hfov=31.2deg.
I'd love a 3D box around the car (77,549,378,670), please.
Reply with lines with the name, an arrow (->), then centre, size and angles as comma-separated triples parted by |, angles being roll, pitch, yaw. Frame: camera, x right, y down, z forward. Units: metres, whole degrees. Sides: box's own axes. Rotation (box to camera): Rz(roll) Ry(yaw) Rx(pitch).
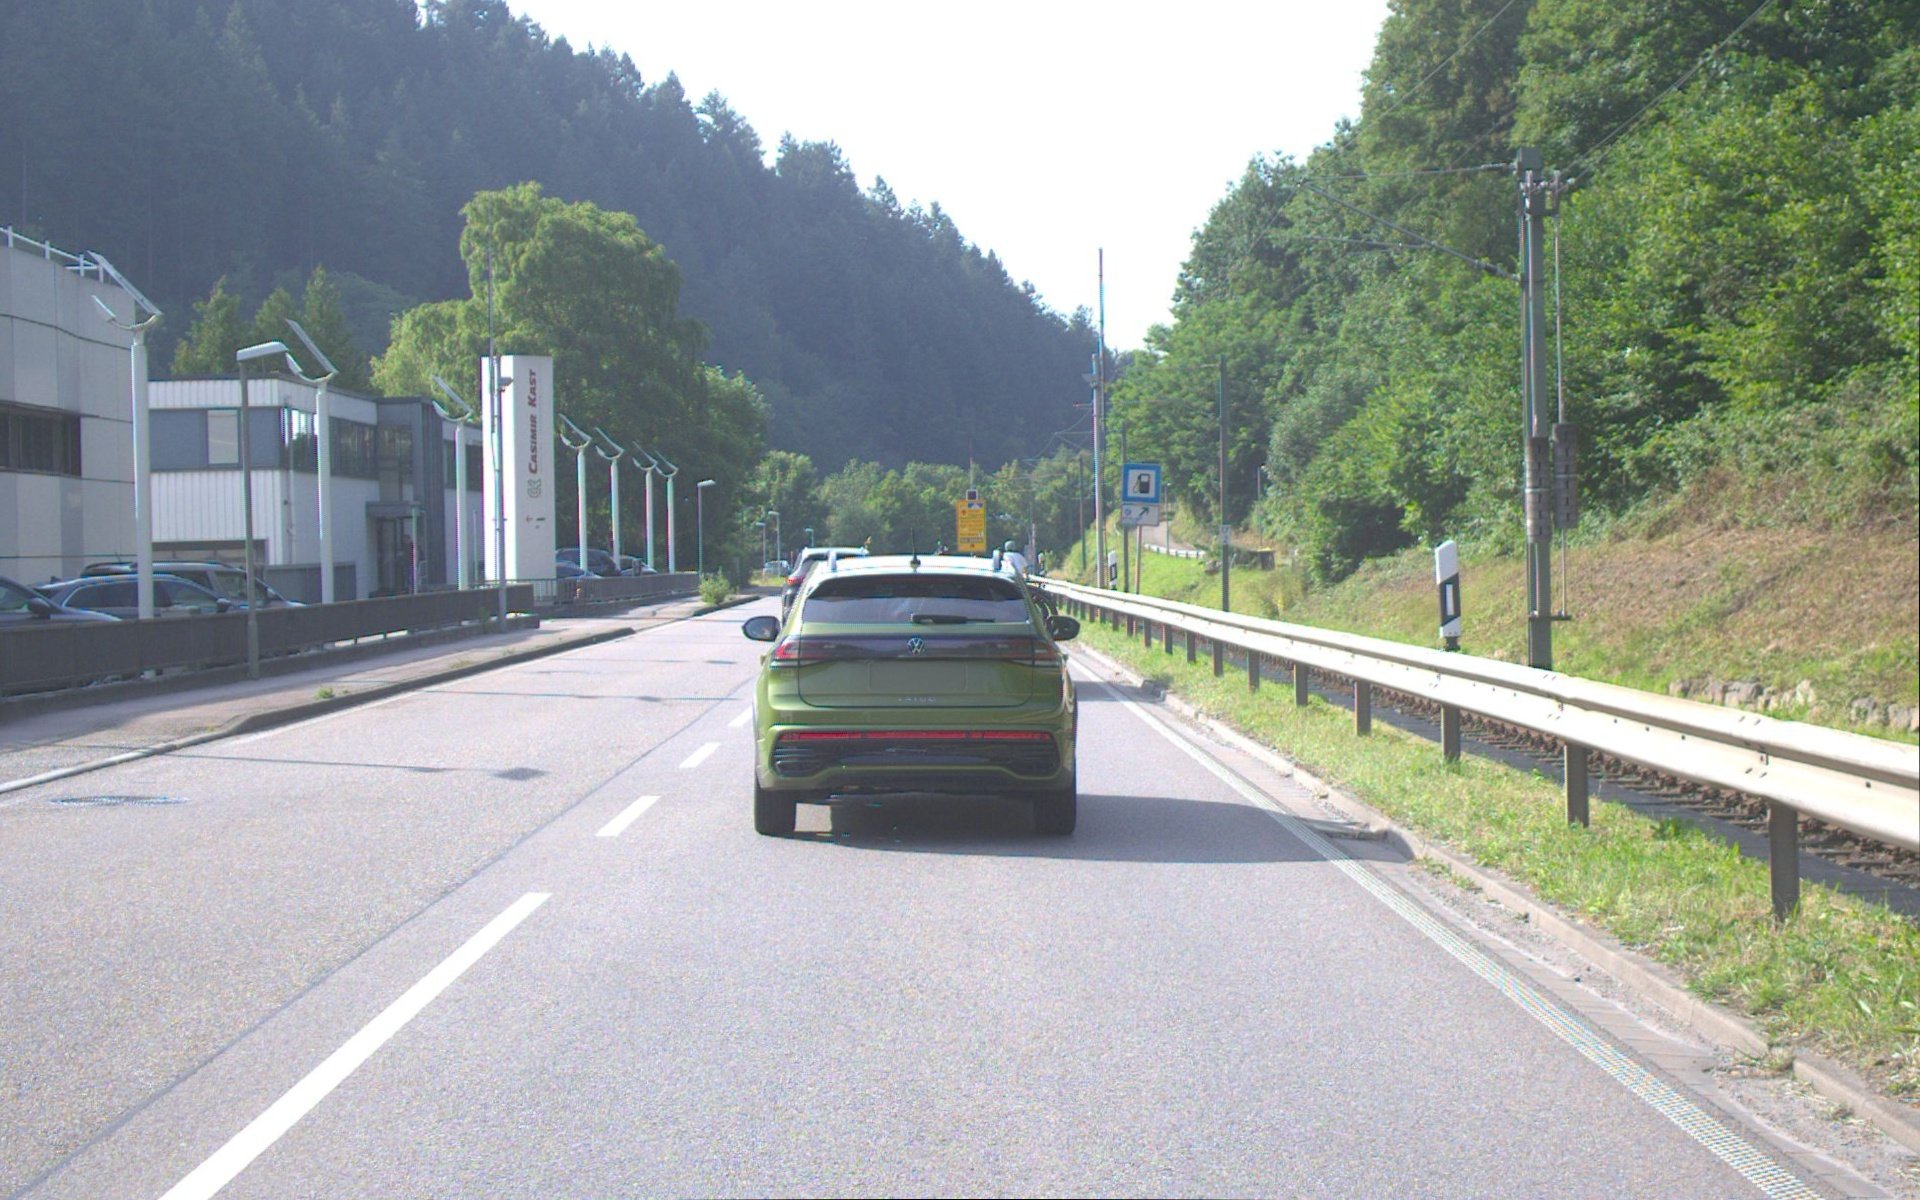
car -> -10.819, 0.103, 50.977 | 1.780, 1.702, 4.101 | 0, 1, 41

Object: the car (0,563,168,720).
car -> -10.506, 0.429, 35.603 | 1.887, 1.586, 4.165 | 0, 1, 41

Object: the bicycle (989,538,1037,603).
bicycle -> 1.041, -0.582, 67.446 | 0.811, 1.246, 2.123 | -1, 1, -2

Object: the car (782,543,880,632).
car -> -2.358, -0.252, 63.605 | 1.739, 1.596, 4.000 | 0, 1, -1

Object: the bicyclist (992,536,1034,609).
bicyclist -> 1.038, -0.540, 67.550 | 0.781, 1.407, 0.675 | -1, 1, -2

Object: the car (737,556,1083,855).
car -> -0.300, 0.506, 19.334 | 1.739, 1.503, 4.000 | 0, 1, -1

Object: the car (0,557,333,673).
car -> -10.965, 0.167, 47.048 | 1.887, 1.490, 4.478 | 0, 1, 41

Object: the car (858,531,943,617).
car -> -1.435, -0.640, 83.335 | 1.993, 2.007, 4.000 | -1, 1, -1

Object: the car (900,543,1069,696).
car -> 0.221, 0.176, 37.957 | 1.739, 1.596, 4.000 | 0, 1, -1
